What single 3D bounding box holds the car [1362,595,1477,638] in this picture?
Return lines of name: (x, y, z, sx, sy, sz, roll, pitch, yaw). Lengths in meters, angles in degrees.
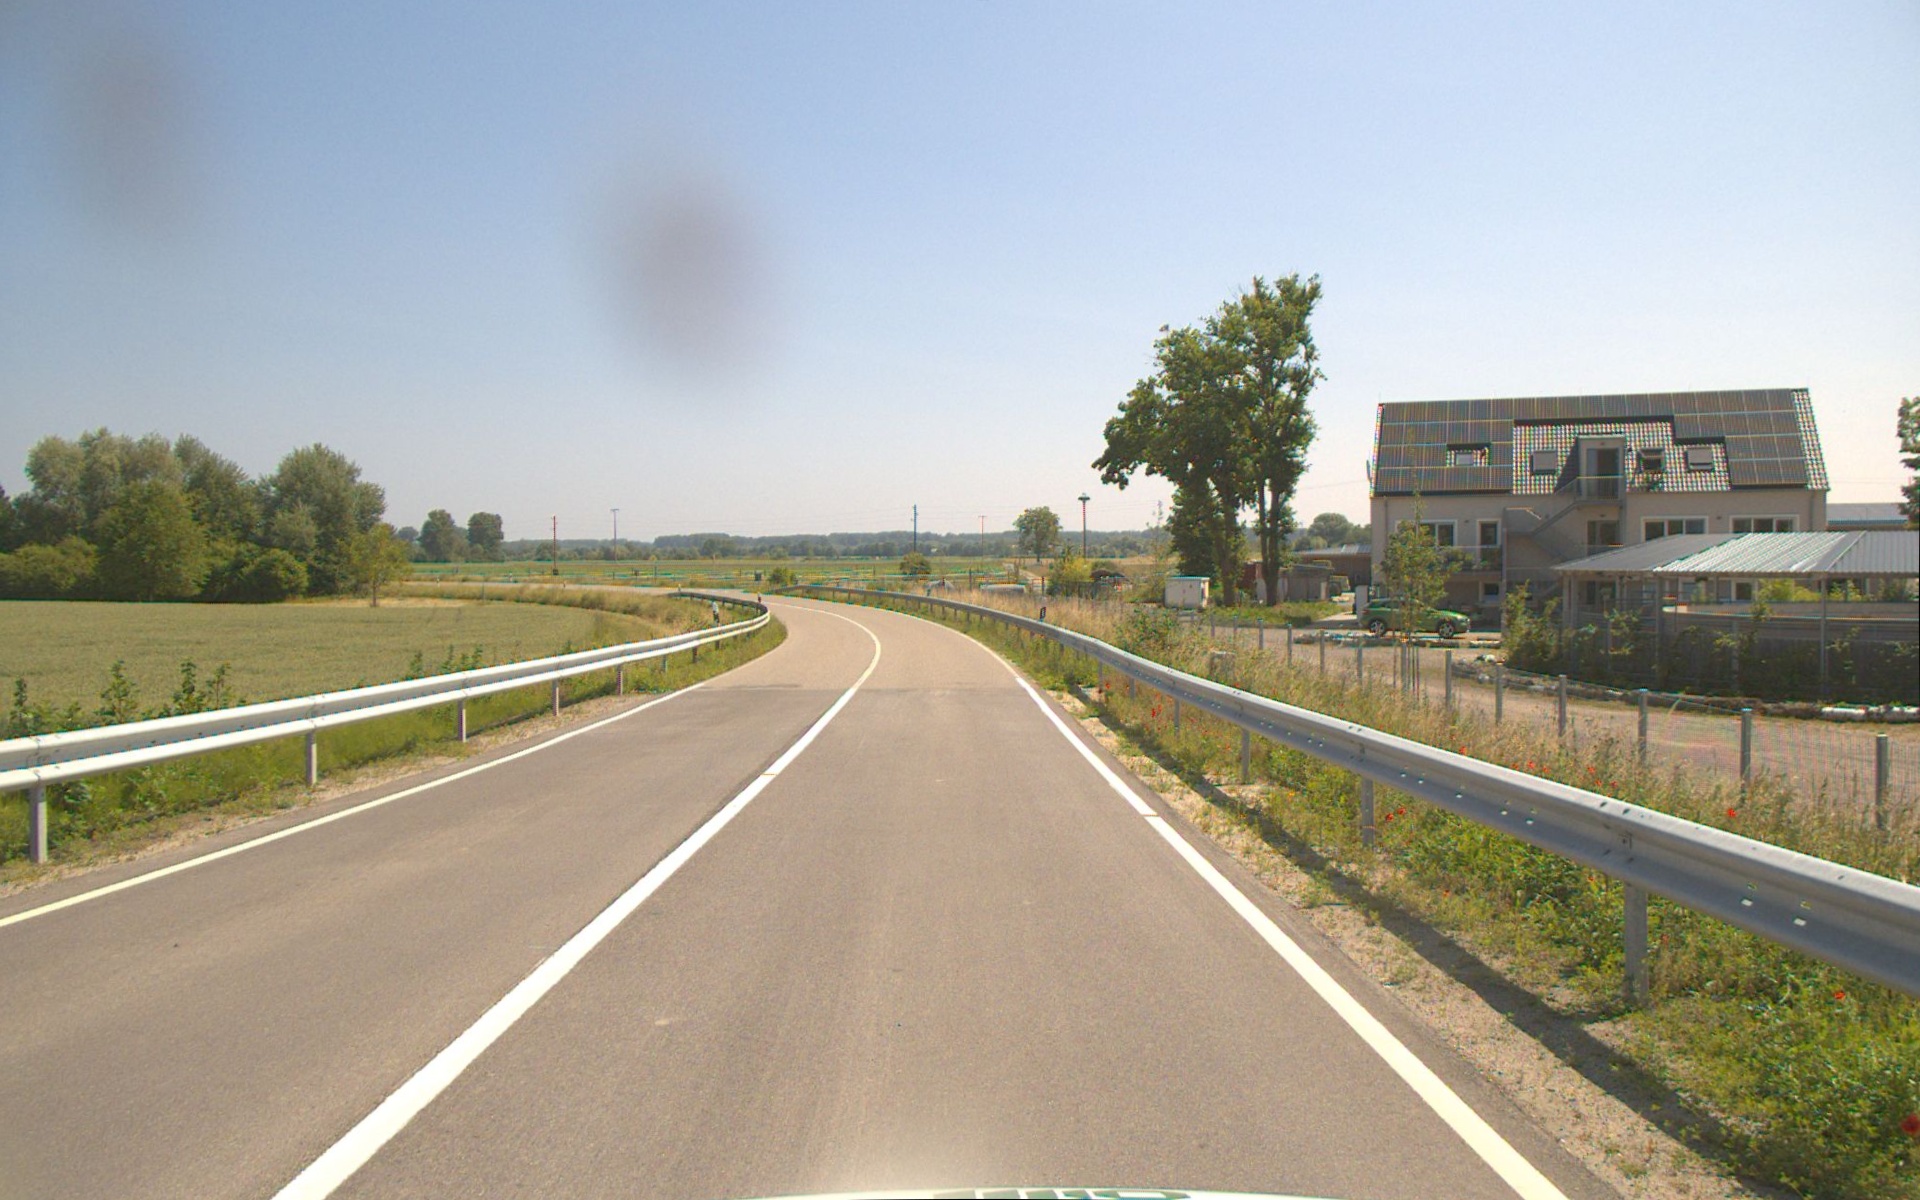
car: (18.442, 0.646, 66.347, 4.269, 1.608, 1.934, 1, 0, 20)
